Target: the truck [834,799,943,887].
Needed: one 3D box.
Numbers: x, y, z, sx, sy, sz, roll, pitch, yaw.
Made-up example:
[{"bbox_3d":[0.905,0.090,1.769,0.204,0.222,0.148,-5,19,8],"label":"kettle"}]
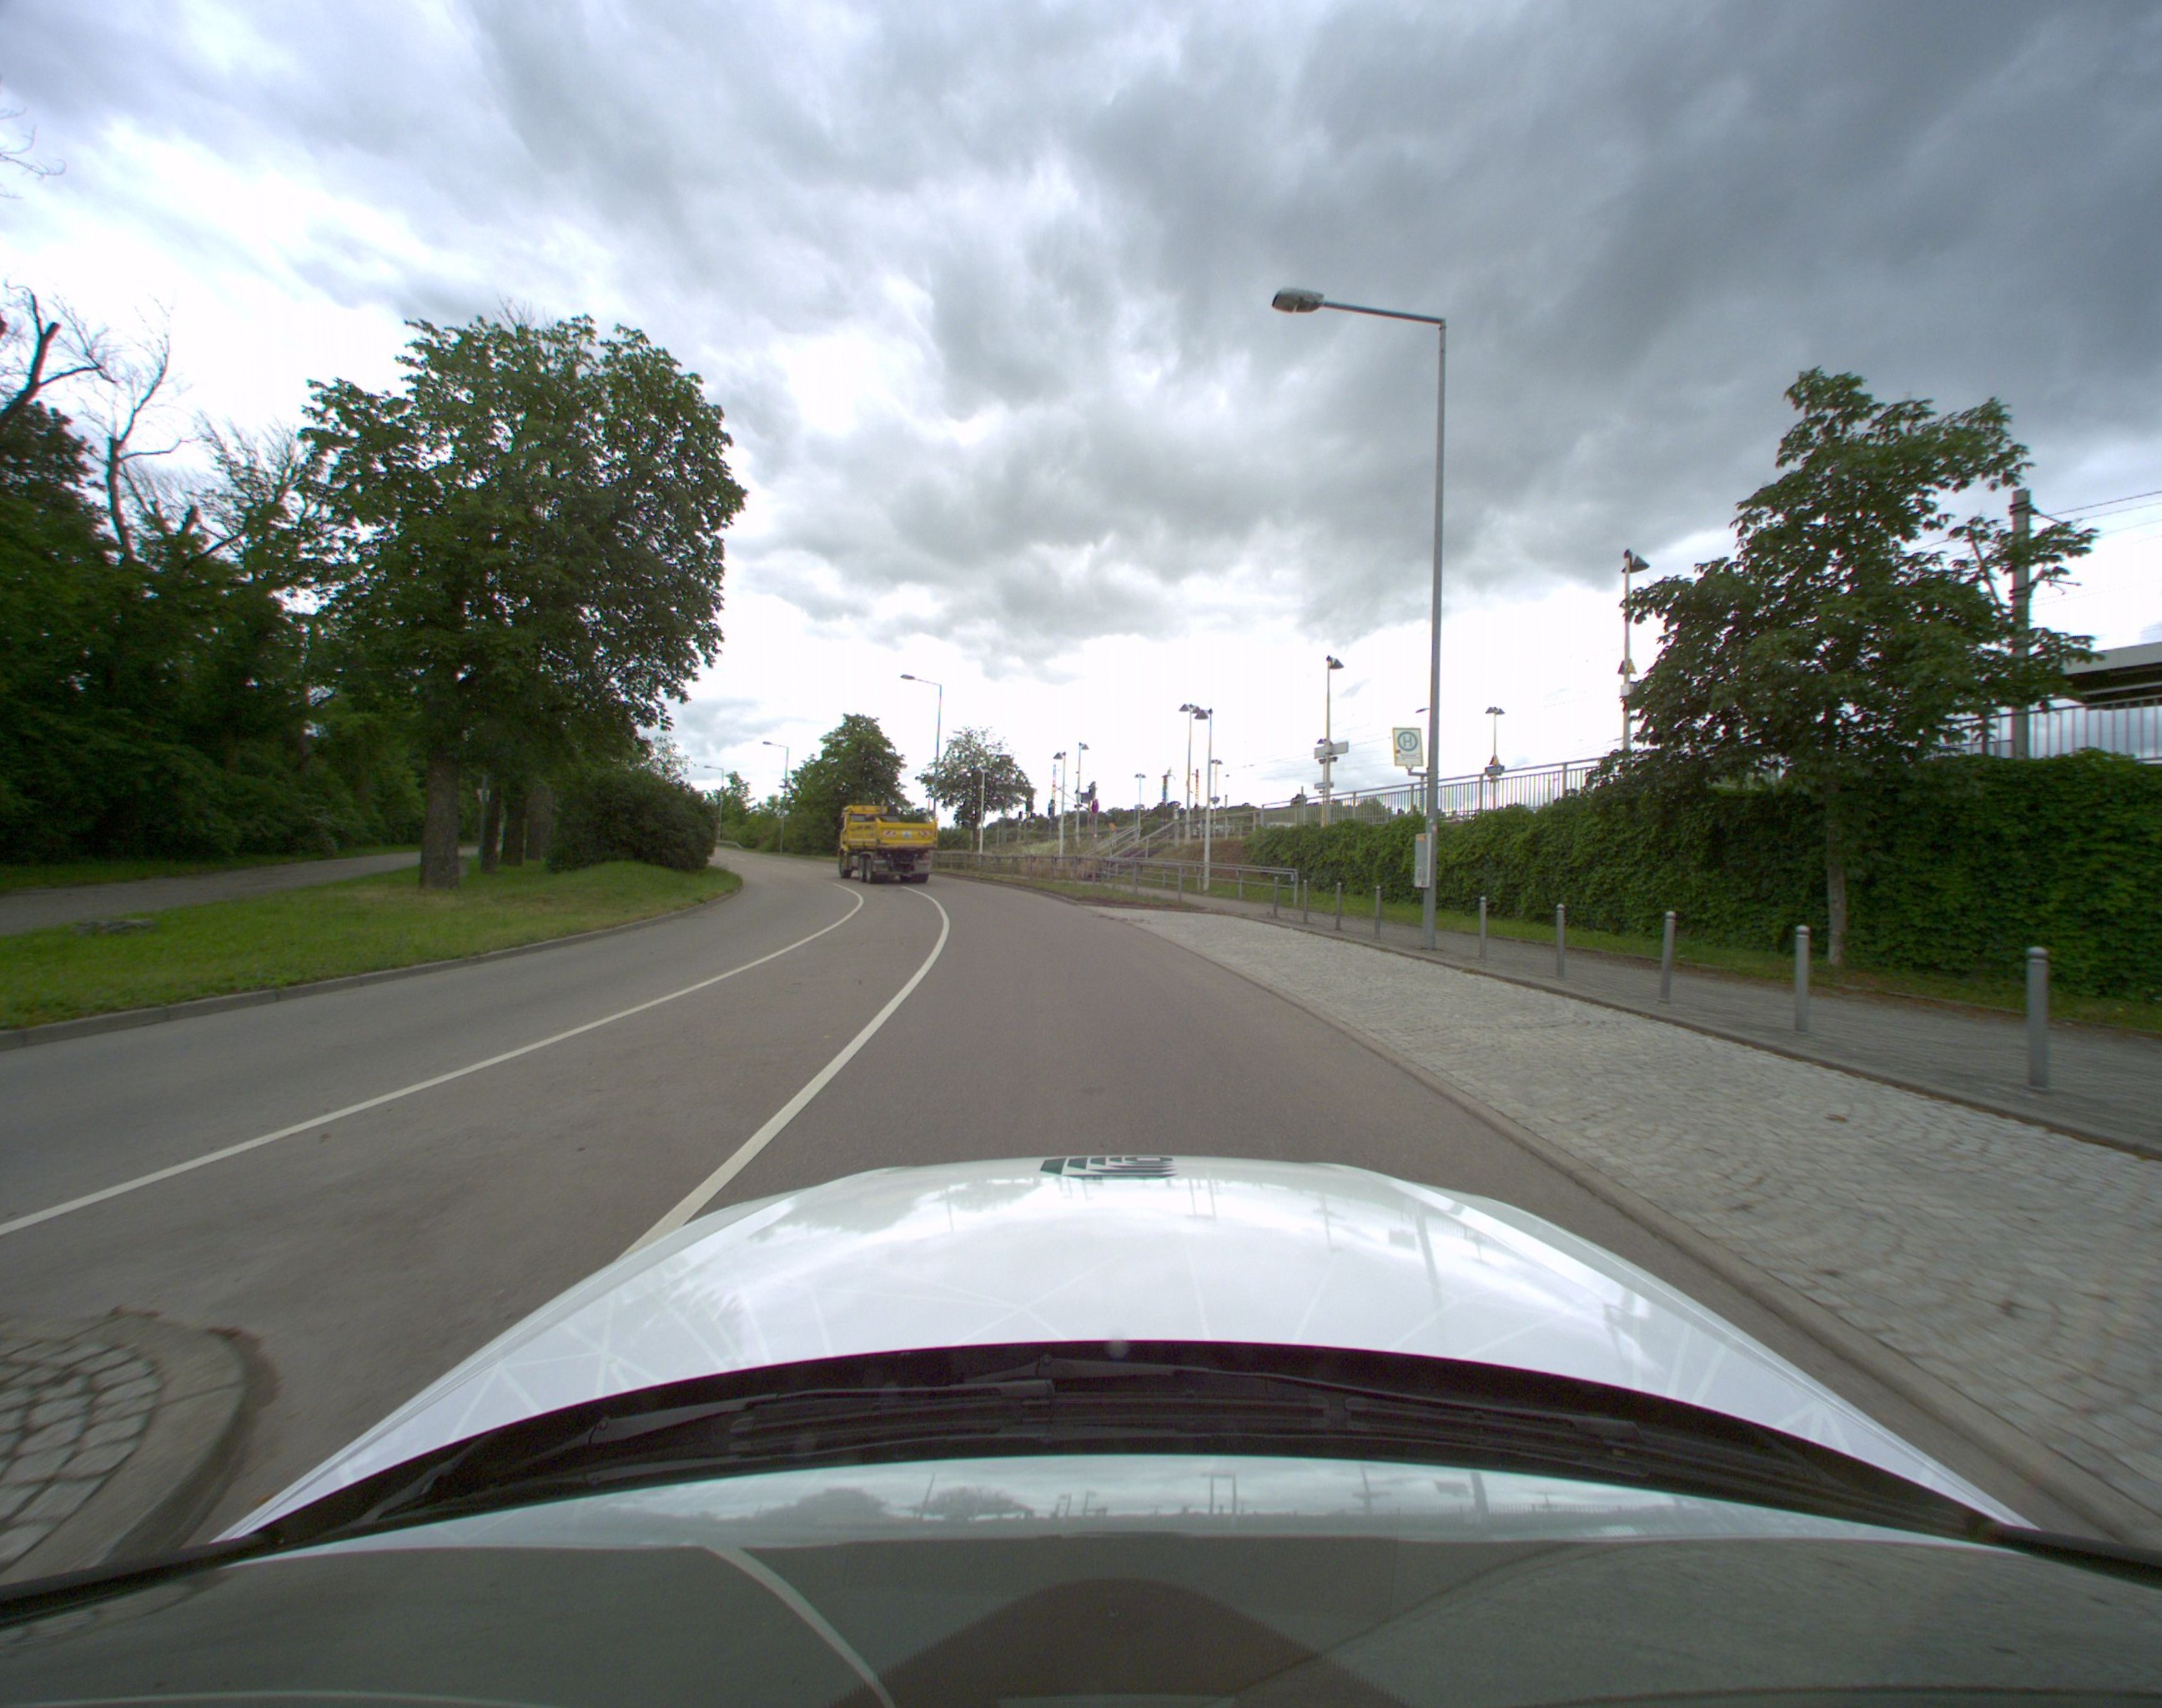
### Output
[{"bbox_3d":[-8.834,-0.545,36.546,2.781,3.483,8.056,0,1,-28],"label":"truck"}]
